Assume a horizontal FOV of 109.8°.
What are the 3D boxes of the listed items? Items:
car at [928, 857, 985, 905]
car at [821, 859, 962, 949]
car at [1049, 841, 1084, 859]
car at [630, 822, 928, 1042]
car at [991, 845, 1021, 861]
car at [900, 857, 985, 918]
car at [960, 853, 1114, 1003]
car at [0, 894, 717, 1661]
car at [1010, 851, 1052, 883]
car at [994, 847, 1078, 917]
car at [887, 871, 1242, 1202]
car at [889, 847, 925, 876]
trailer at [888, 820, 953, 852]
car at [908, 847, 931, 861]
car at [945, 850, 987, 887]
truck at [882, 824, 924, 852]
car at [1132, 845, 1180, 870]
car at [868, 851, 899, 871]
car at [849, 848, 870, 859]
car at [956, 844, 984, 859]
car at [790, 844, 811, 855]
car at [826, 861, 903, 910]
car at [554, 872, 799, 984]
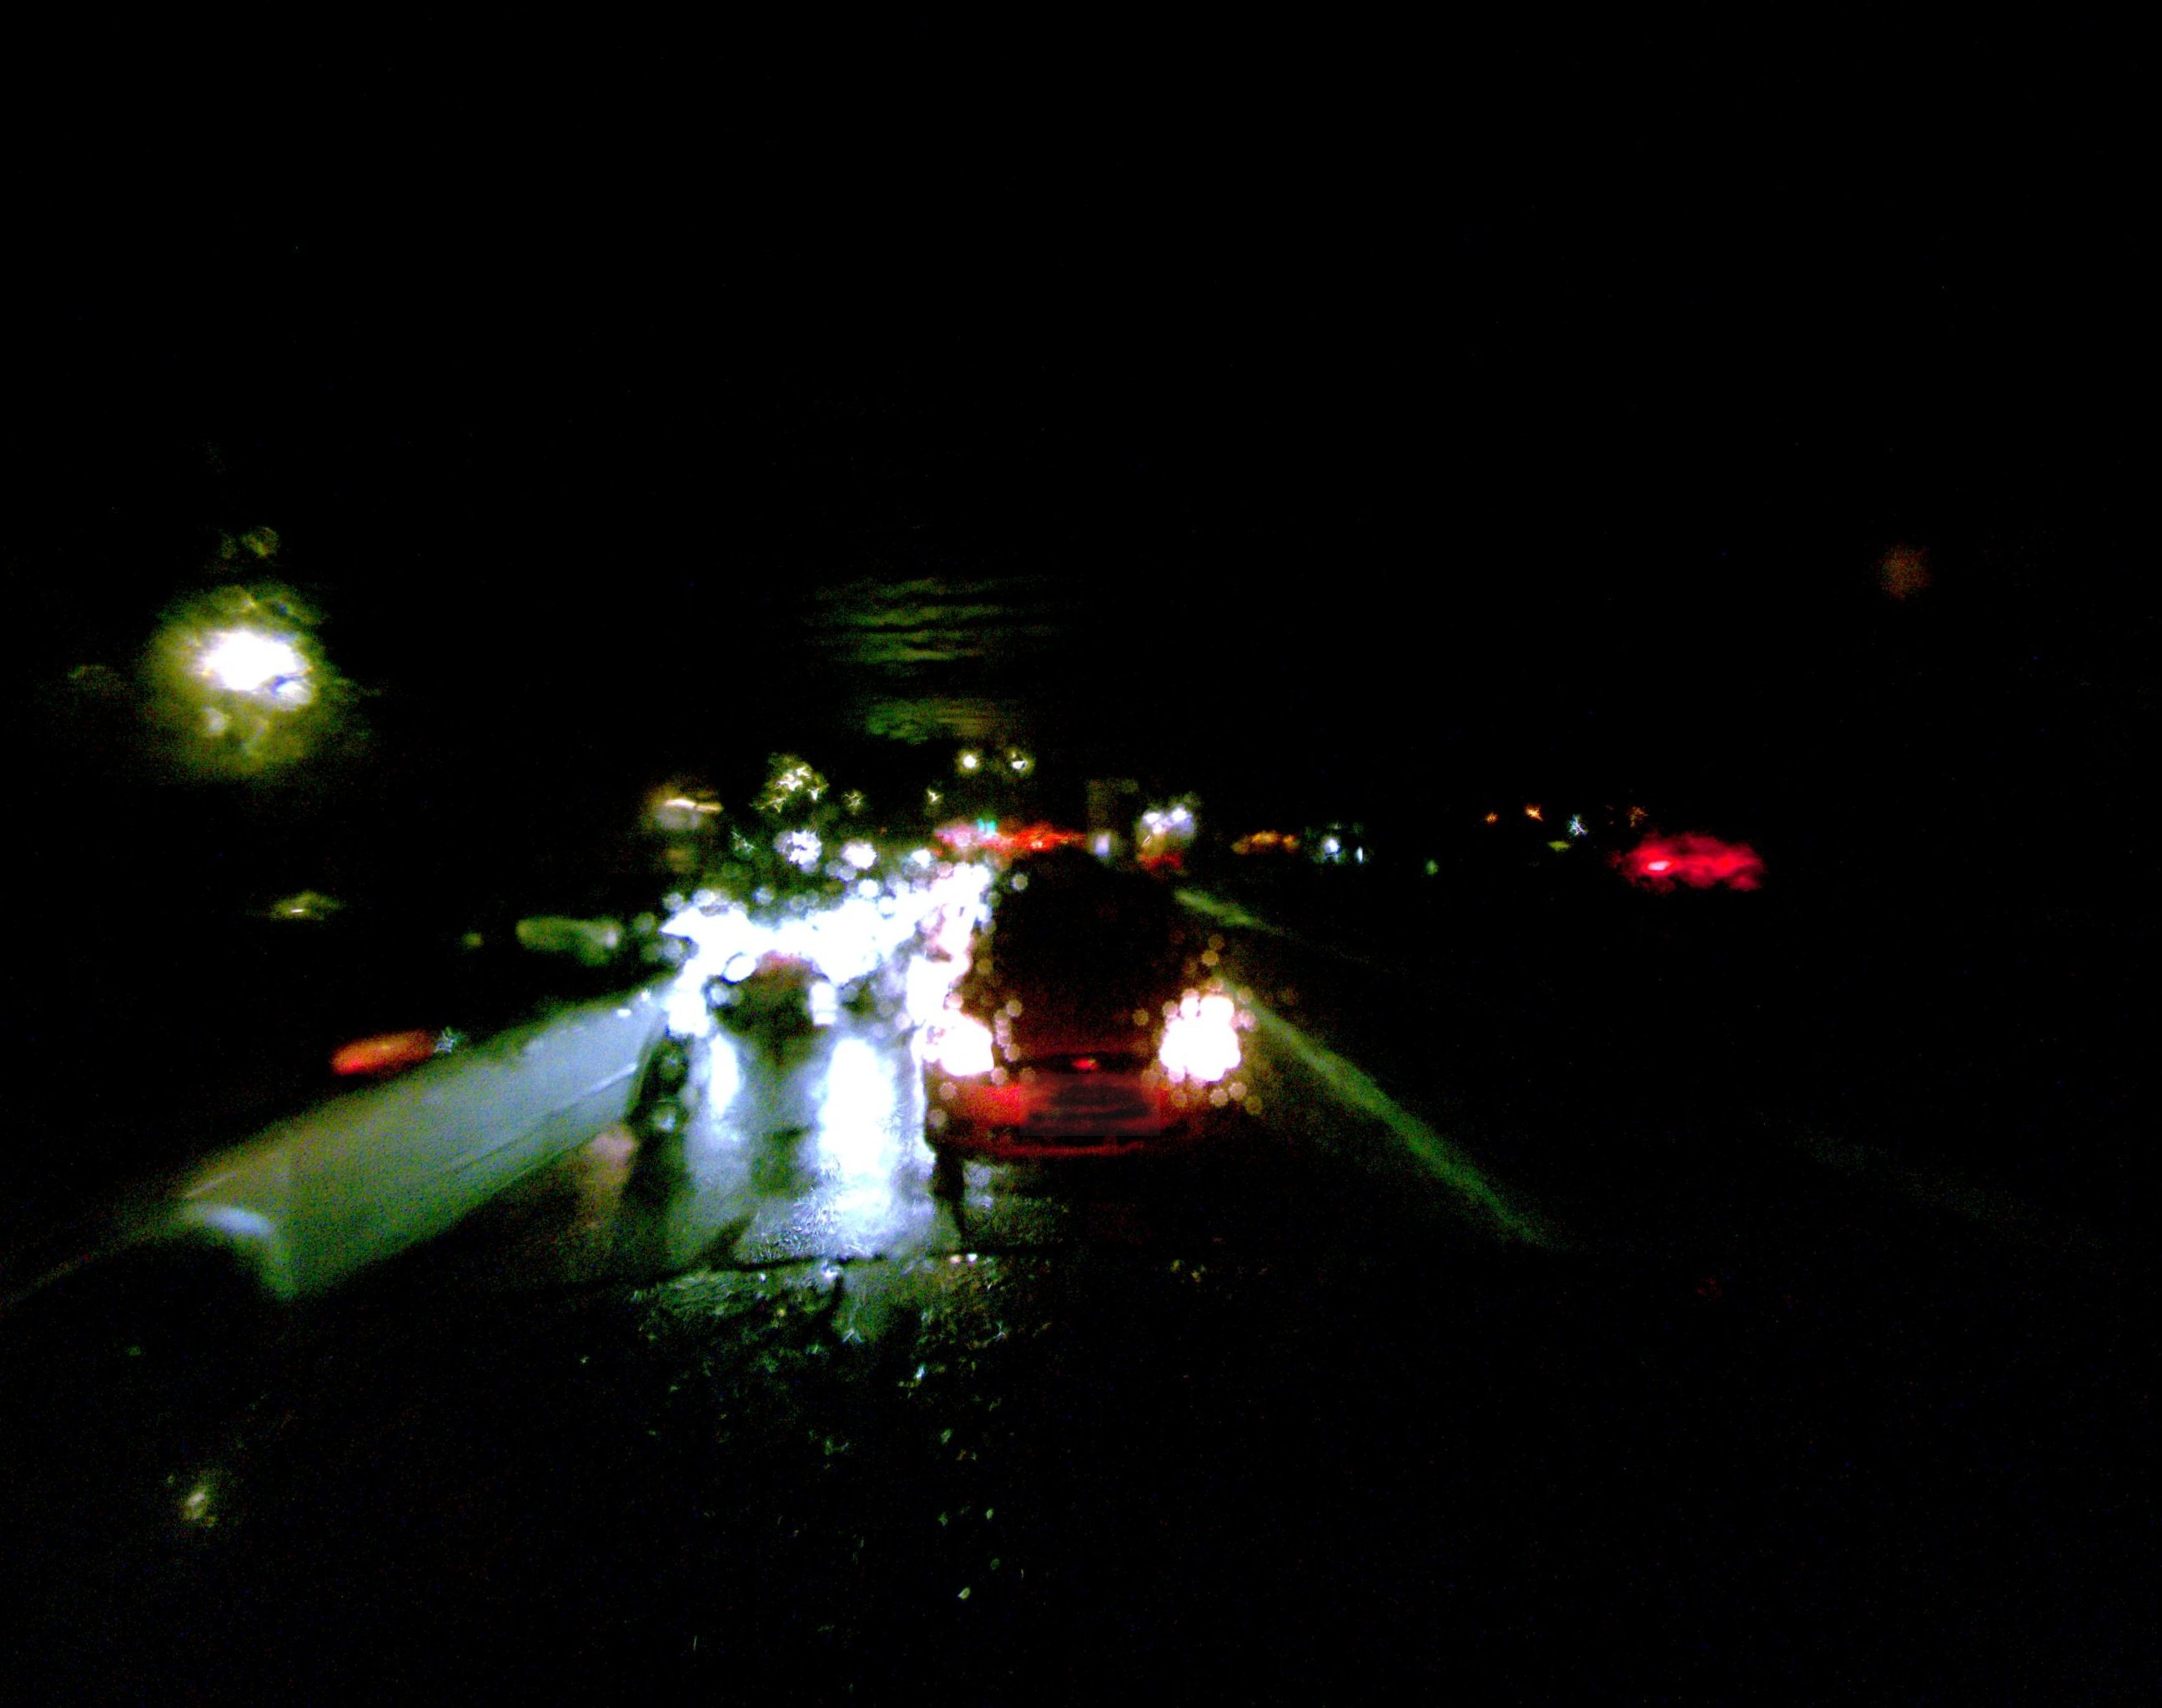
[{"bbox_3d":[-4.387,0.893,27.205,1.683,1.463,3.998,-2,1,-5],"label":"car"},{"bbox_3d":[-3.745,0.933,15.745,1.869,1.503,3.766,-2,1,1],"label":"car"},{"bbox_3d":[-1.488,-0.397,77.021,1.862,1.739,4.497,-3,1,-25],"label":"car"},{"bbox_3d":[-3.372,0.738,9.583,1.999,2.076,4.347,-2,1,-1],"label":"car"},{"bbox_3d":[-8.460,-0.085,85.693,1.912,1.731,4.389,-3,1,-26],"label":"car"},{"bbox_3d":[-3.925,0.898,22.177,1.629,1.494,3.999,-2,1,1],"label":"car"},{"bbox_3d":[-0.470,0.840,10.623,1.683,1.591,3.996,-2,1,1],"label":"car"},{"bbox_3d":[-3.188,1.016,2.685,1.792,1.359,3.999,-2,2,0],"label":"car"},{"bbox_3d":[-2.547,0.617,37.973,1.854,1.476,4.483,-1,0,-7],"label":"car"},{"bbox_3d":[-1.115,0.634,19.708,1.881,1.534,3.999,-2,1,-2],"label":"car"},{"bbox_3d":[-0.049,0.898,5.513,1.603,1.360,3.942,-2,1,1],"label":"car"},{"bbox_3d":[-9.909,0.394,43.340,1.854,1.423,4.496,-2,2,-12],"label":"car"},{"bbox_3d":[-23.957,-2.528,112.514,3.976,4.152,13.884,-3,1,-36],"label":"trailer"},{"bbox_3d":[-18.088,-0.067,84.997,1.856,1.423,4.493,-3,2,-21],"label":"car"},{"bbox_3d":[-5.392,0.647,36.051,1.743,1.581,3.997,-2,1,-6],"label":"car"},{"bbox_3d":[-27.577,-2.441,117.390,3.976,4.152,6.360,-3,1,-36],"label":"truck"},{"bbox_3d":[5.073,0.248,51.775,1.913,1.578,4.076,1,-1,-15],"label":"car"},{"bbox_3d":[-15.968,0.570,61.311,1.884,1.463,3.993,-3,1,-21],"label":"car"},{"bbox_3d":[-30.835,-0.070,105.760,1.885,1.463,3.991,-3,1,-29],"label":"car"},{"bbox_3d":[-14.086,-0.278,96.186,1.974,1.731,4.907,-3,1,-28],"label":"car"},{"bbox_3d":[-45.918,-0.735,124.515,1.974,1.731,4.906,-3,1,-35],"label":"car"},{"bbox_3d":[-7.836,1.077,27.946,1.853,1.423,4.498,-2,2,-5],"label":"car"},{"bbox_3d":[-6.577,1.103,13.041,1.853,1.447,4.501,-1,0,-2],"label":"car"}]
